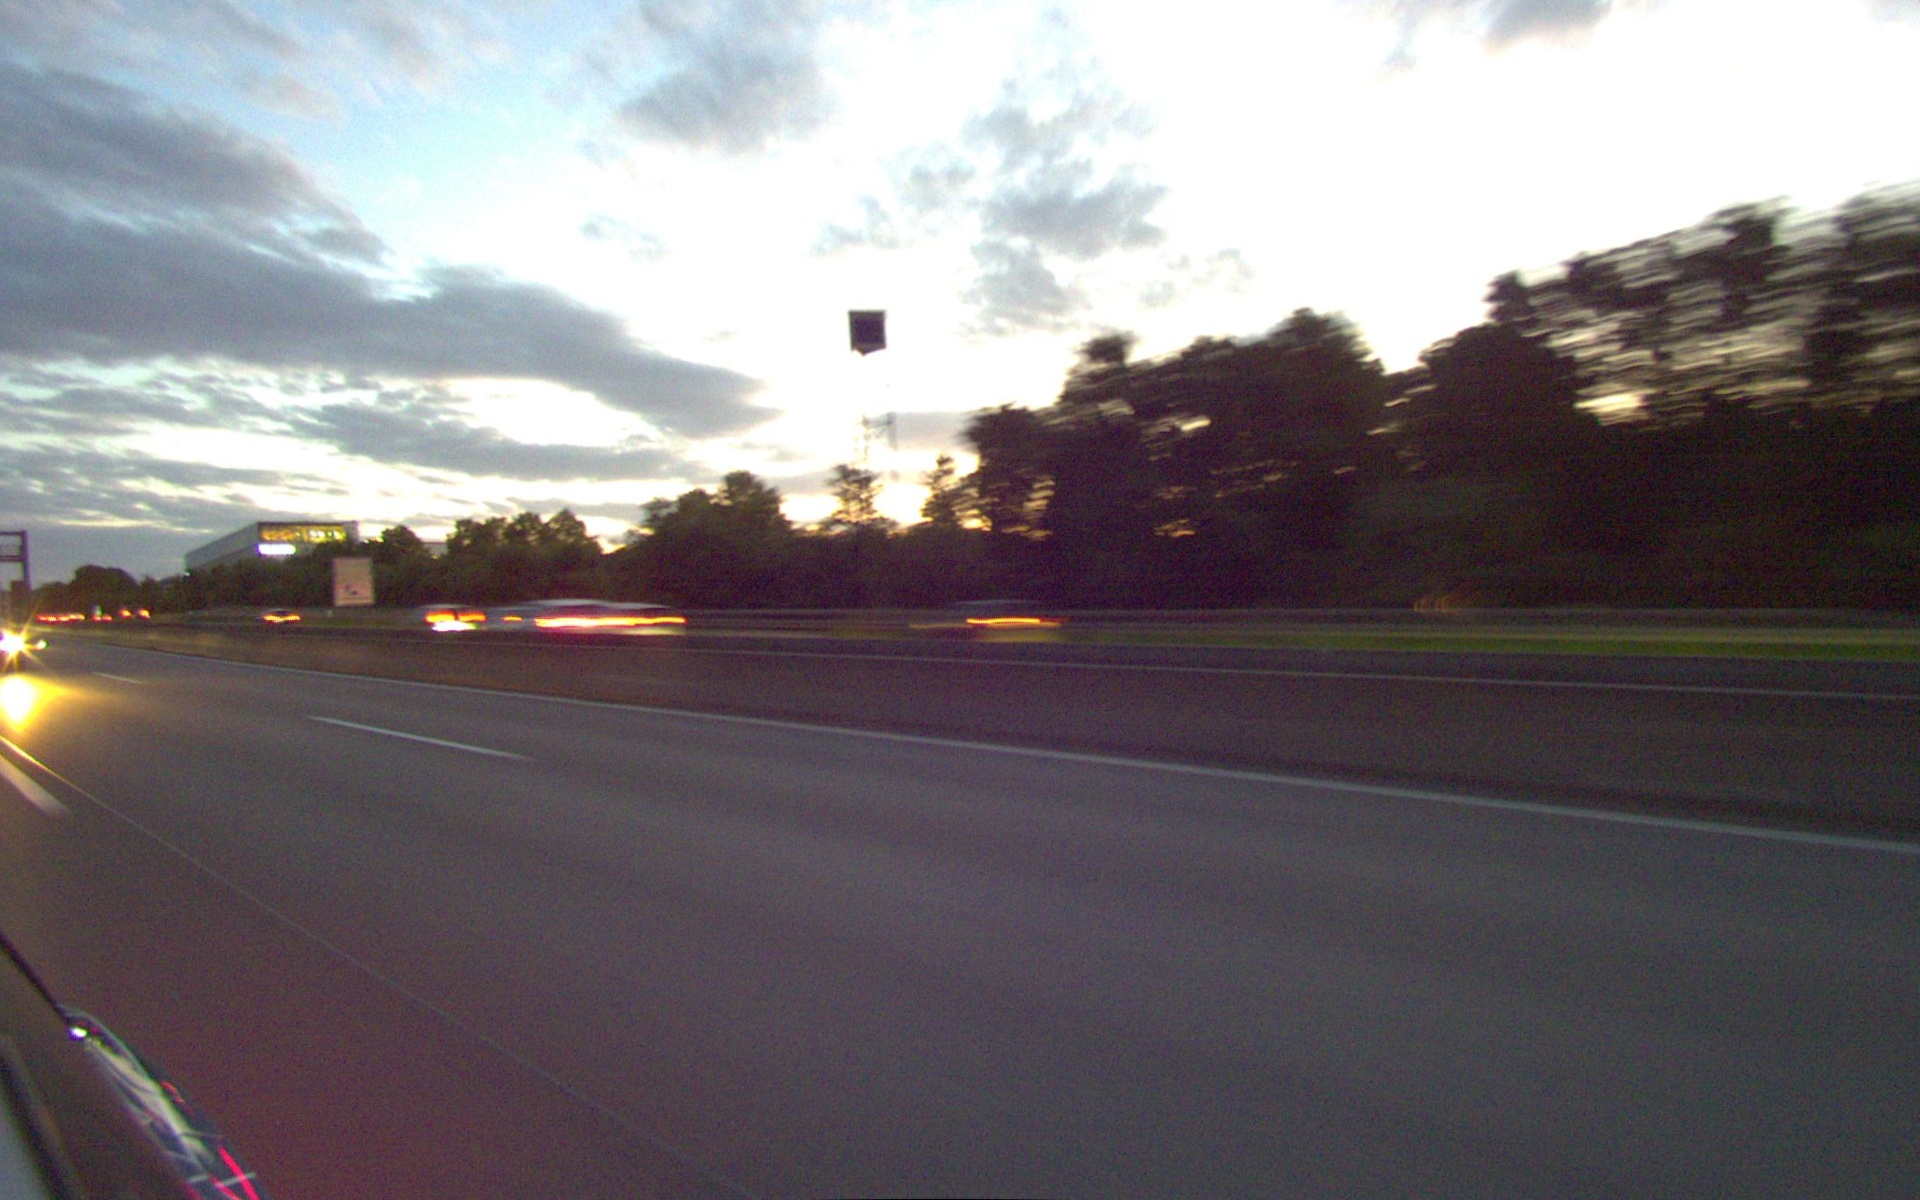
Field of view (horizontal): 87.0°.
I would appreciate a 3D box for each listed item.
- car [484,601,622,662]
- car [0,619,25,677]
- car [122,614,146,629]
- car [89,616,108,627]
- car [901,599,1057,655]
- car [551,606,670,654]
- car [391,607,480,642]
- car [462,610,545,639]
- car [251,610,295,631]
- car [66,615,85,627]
[{"bbox_3d":[-12.917,0.937,31.956,5.049,1.748,1.973,-1,0,41],"label":"car"},{"bbox_3d":[-27.255,1.311,27.968,3.998,1.491,1.695,-1,0,42],"label":"car"},{"bbox_3d":[-103.505,2.703,126.740,4.583,1.823,1.768,-1,0,44],"label":"car"},{"bbox_3d":[-131.850,3.284,154.868,4.583,1.649,1.768,-1,0,44],"label":"car"},{"bbox_3d":[0.487,0.725,29.074,4.235,1.471,1.973,-1,0,41],"label":"car"},{"bbox_3d":[-12.233,1.008,35.294,4.556,1.516,1.973,-1,0,41],"label":"car"},{"bbox_3d":[-24.119,1.076,46.438,5.021,1.484,1.973,-1,0,41],"label":"car"},{"bbox_3d":[-23.145,1.213,51.240,5.021,1.412,1.973,-1,0,41],"label":"car"},{"bbox_3d":[-53.461,1.580,78.758,4.580,1.555,1.769,-1,0,41],"label":"car"},{"bbox_3d":[-154.933,3.615,177.223,3.998,2.029,1.973,-1,0,41],"label":"car"}]
